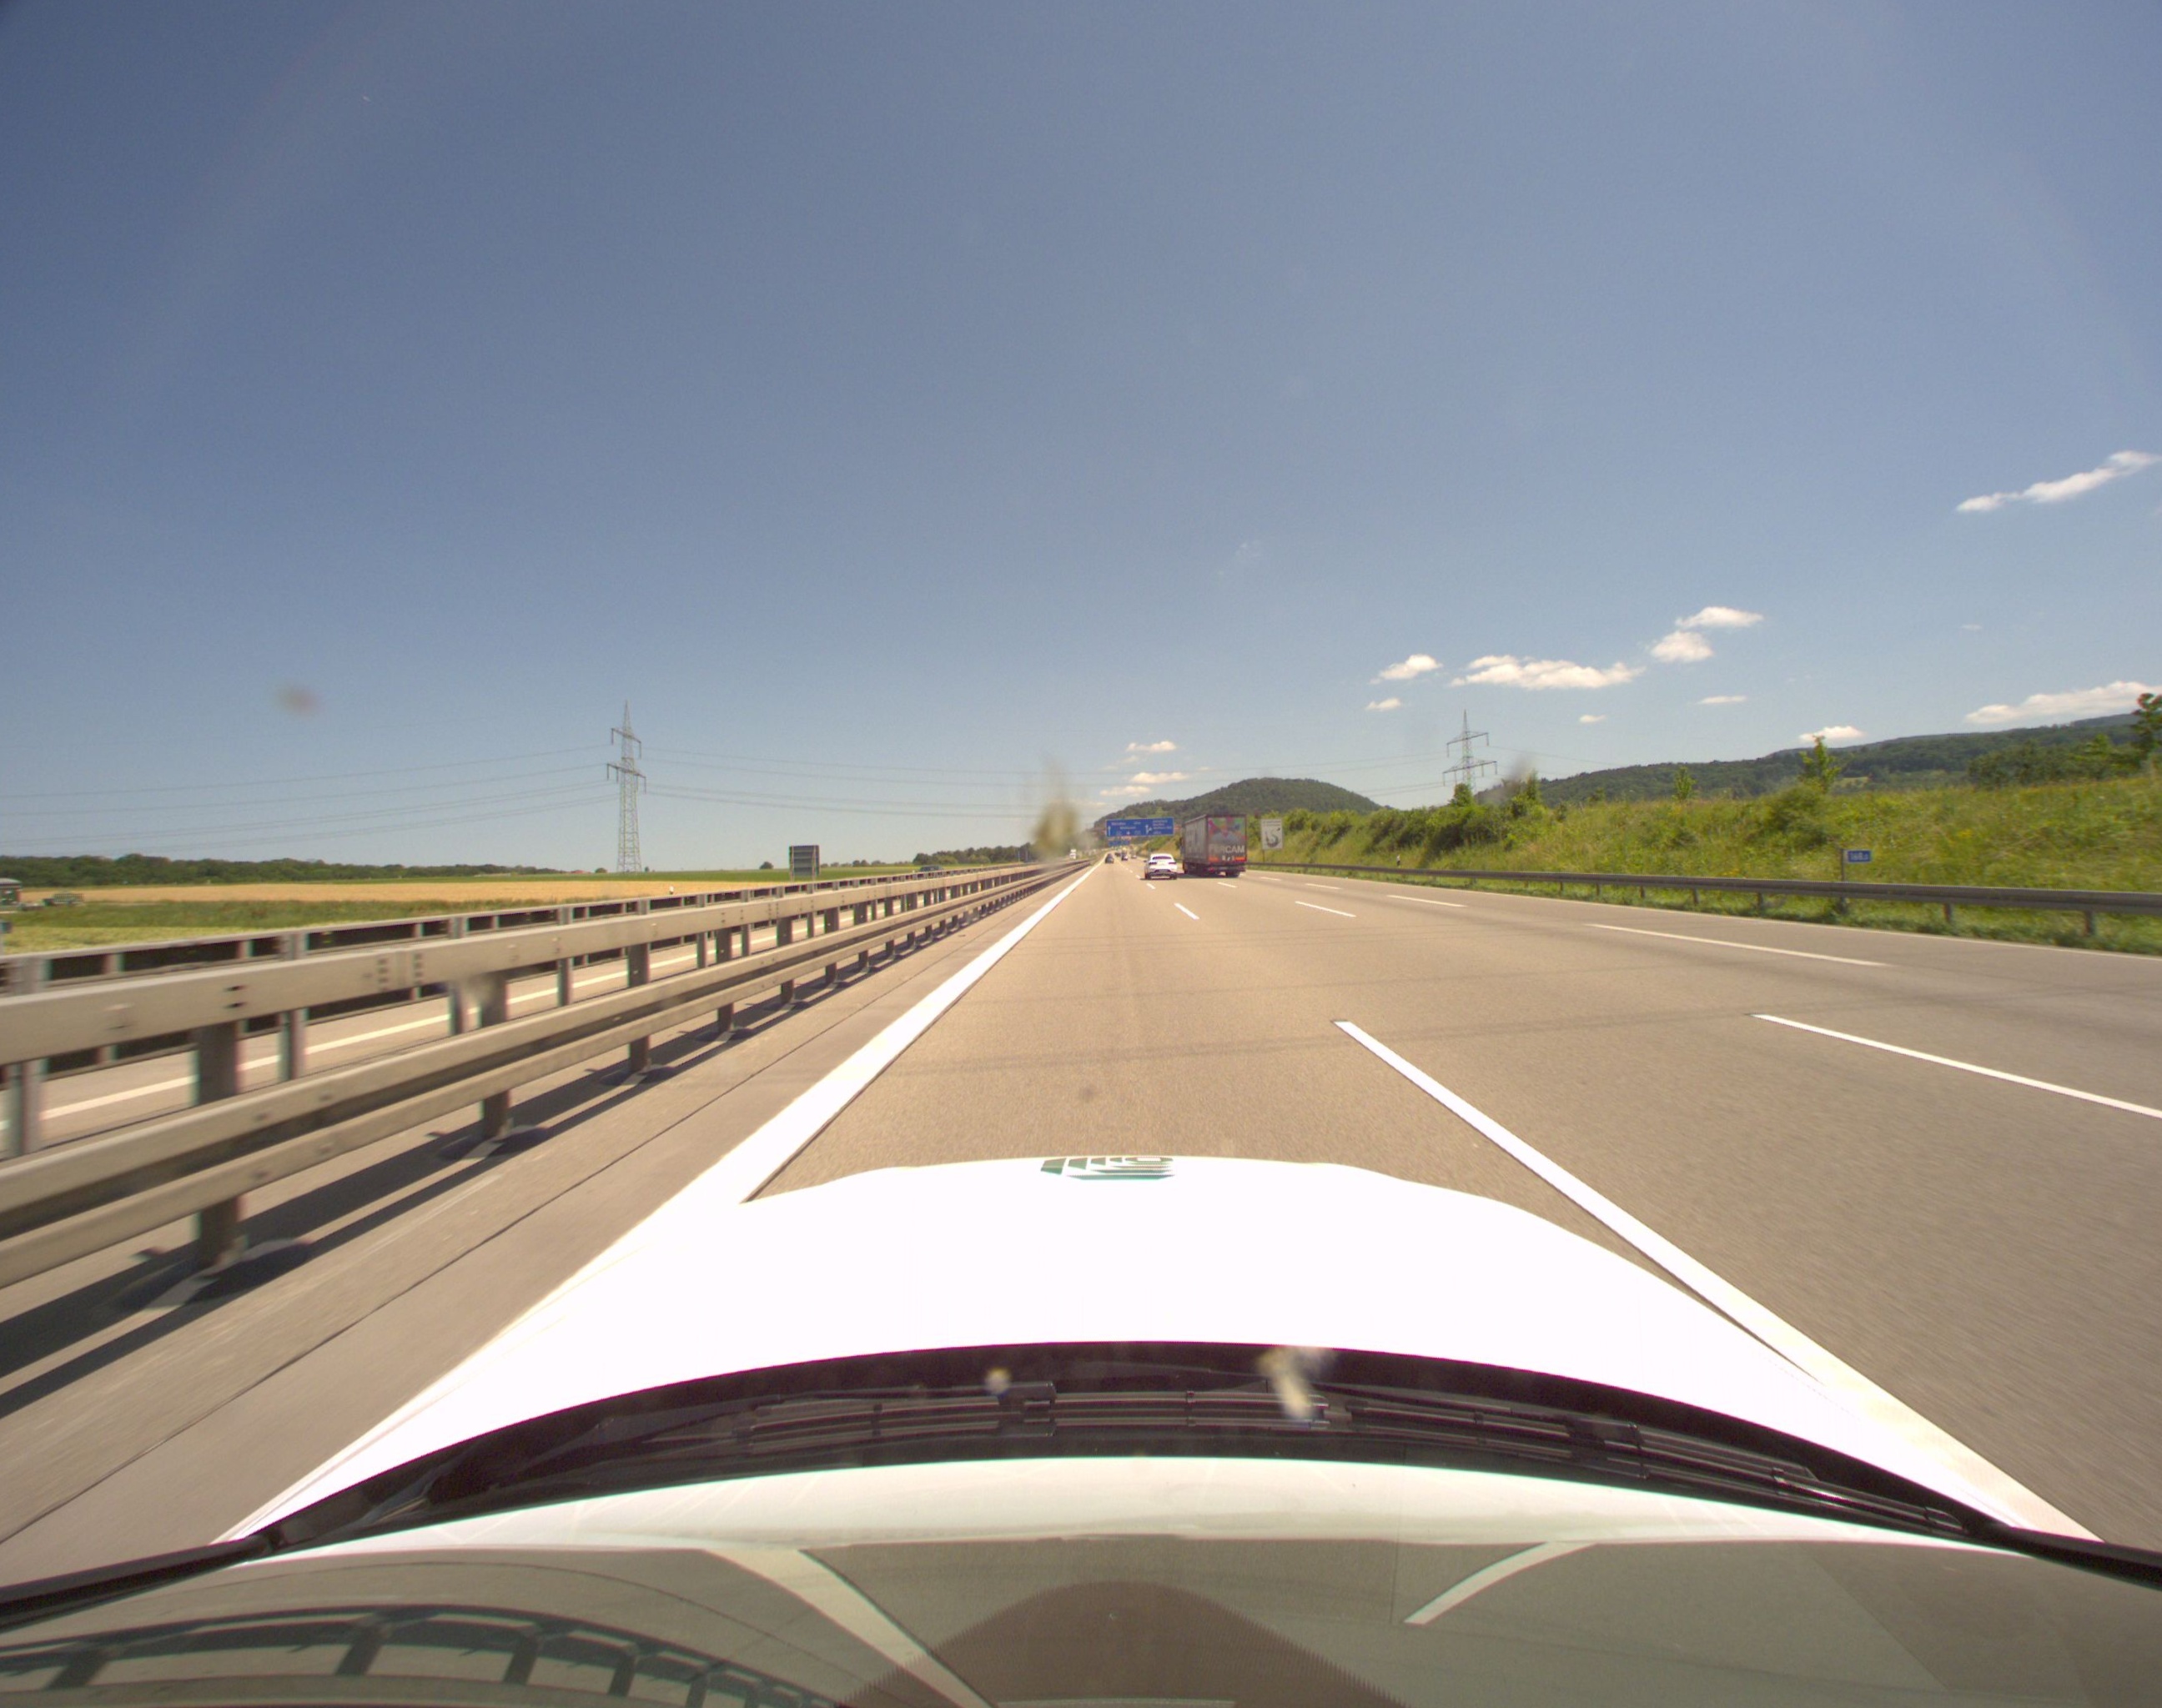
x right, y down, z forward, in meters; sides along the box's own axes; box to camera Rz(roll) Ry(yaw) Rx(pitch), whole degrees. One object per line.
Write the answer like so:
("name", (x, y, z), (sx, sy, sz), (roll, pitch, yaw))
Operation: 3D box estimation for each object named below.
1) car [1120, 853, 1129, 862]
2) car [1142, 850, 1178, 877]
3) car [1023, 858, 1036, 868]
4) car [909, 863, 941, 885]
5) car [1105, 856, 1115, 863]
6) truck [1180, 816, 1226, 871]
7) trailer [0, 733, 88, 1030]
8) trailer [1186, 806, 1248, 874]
("car", (10.860, 0.893, 203.531), (1.985, 2.014, 4.002), (-1, 0, 2))
("car", (4.940, 0.581, 51.620), (1.907, 1.581, 5.232), (-1, 0, 2))
("car", (-8.269, 1.464, 130.836), (1.665, 1.440, 4.567), (-5, -1, 1))
("car", (-10.838, 1.365, 56.750), (1.477, 1.425, 3.610), (-1, 0, 2))
("car", (5.639, 1.123, 158.344), (1.985, 1.389, 4.002), (-1, 0, 2))
("truck", (9.486, -0.744, 63.840), (2.742, 4.020, 6.790), (-1, 0, 1))
("trailer", (-16.287, 0.355, 6.229), (2.822, 4.046, 11.669), (-1, 0, 2))
("trailer", (9.224, -0.837, 56.608), (2.715, 4.155, 11.813), (-1, 0, 2))
